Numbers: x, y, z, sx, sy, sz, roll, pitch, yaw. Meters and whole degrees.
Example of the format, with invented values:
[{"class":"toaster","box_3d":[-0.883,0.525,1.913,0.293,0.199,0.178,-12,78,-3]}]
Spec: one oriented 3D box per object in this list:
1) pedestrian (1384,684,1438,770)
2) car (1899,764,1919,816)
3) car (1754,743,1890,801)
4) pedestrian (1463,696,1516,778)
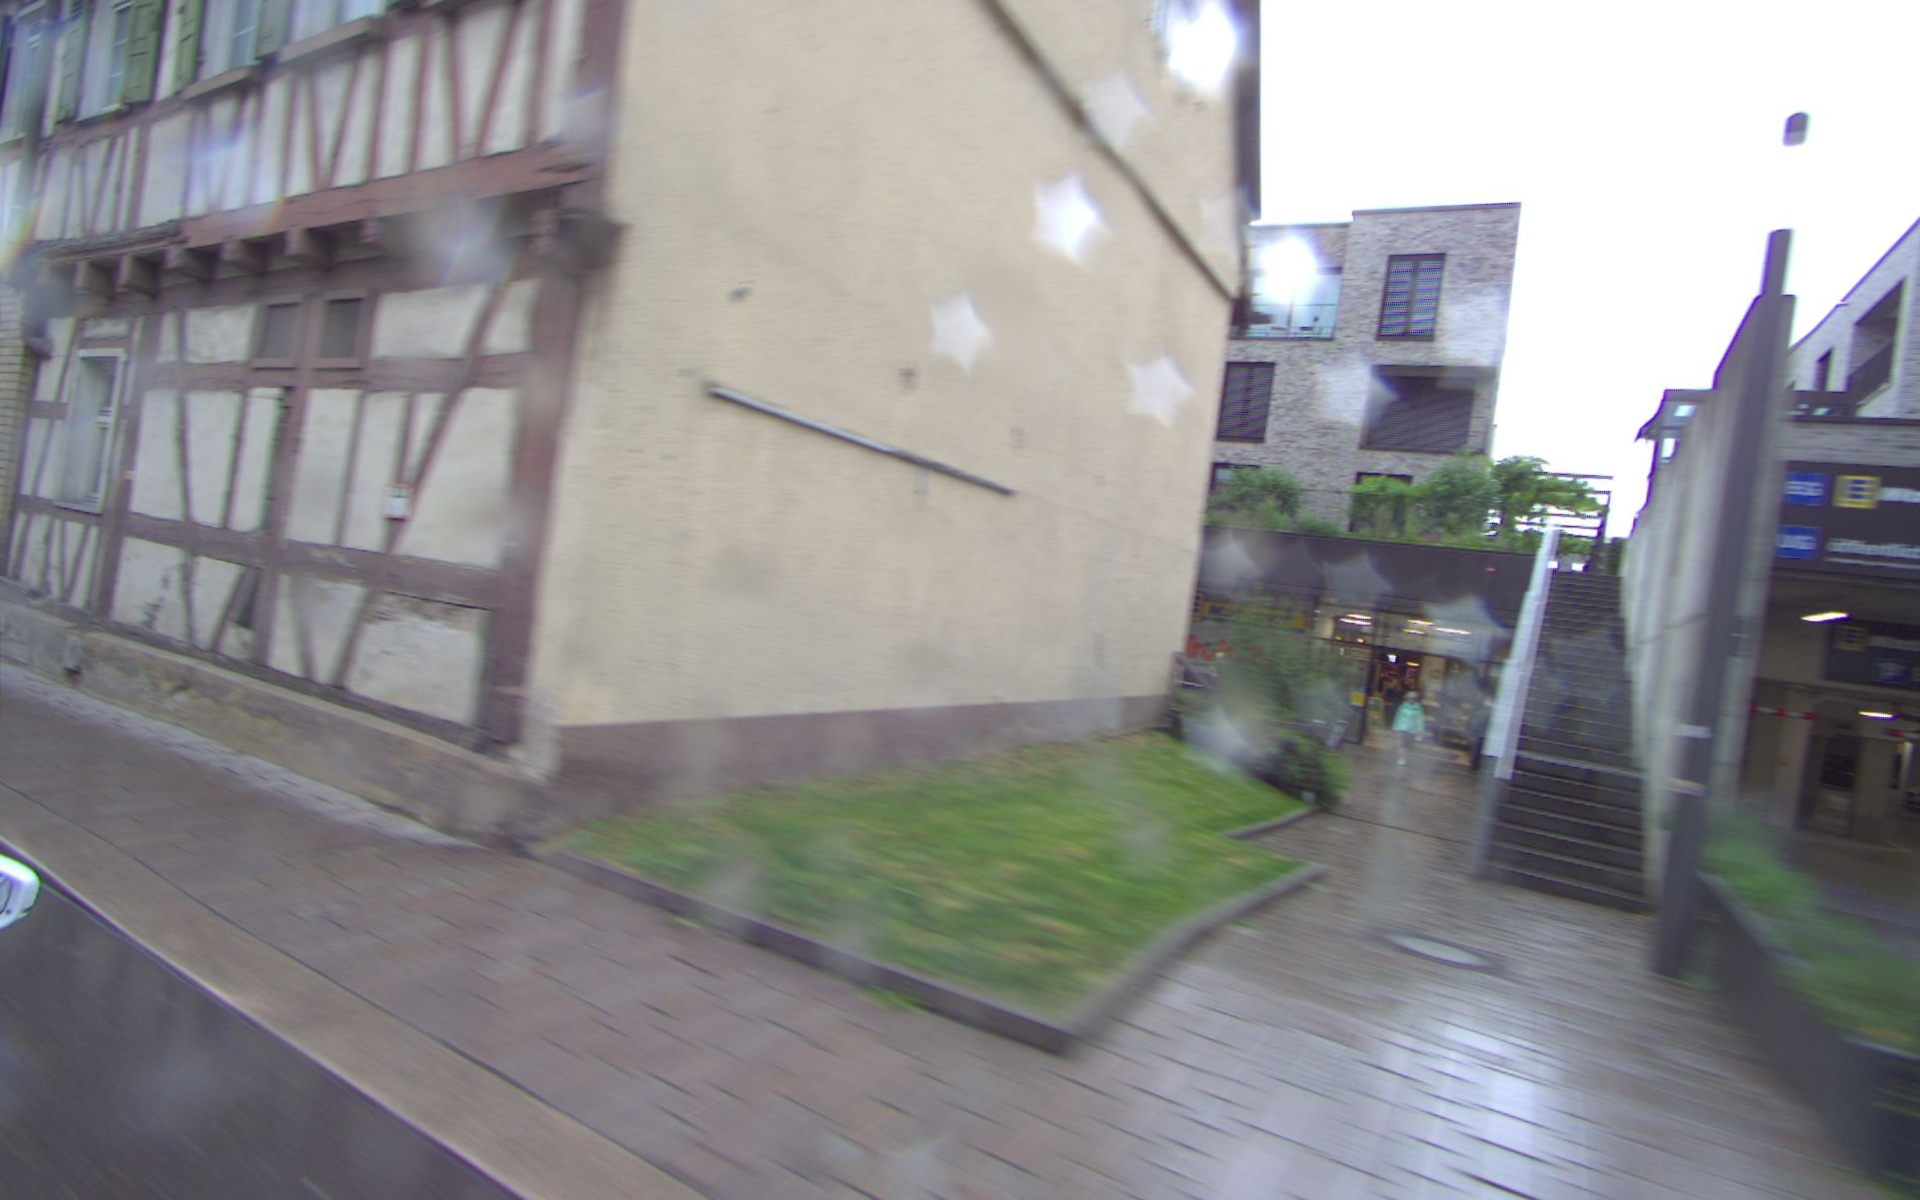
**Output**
[{"class":"pedestrian","box_3d":[9.679,2.708,21.633,0.727,1.677,0.851,7,2,13]},{"class":"car","box_3d":[35.517,6.941,34.848,3.934,1.639,1.780,7,2,32]},{"class":"car","box_3d":[36.068,7.174,42.168,3.926,1.639,1.889,7,2,0]},{"class":"pedestrian","box_3d":[11.256,2.898,21.412,0.727,1.580,0.674,7,2,19]}]
